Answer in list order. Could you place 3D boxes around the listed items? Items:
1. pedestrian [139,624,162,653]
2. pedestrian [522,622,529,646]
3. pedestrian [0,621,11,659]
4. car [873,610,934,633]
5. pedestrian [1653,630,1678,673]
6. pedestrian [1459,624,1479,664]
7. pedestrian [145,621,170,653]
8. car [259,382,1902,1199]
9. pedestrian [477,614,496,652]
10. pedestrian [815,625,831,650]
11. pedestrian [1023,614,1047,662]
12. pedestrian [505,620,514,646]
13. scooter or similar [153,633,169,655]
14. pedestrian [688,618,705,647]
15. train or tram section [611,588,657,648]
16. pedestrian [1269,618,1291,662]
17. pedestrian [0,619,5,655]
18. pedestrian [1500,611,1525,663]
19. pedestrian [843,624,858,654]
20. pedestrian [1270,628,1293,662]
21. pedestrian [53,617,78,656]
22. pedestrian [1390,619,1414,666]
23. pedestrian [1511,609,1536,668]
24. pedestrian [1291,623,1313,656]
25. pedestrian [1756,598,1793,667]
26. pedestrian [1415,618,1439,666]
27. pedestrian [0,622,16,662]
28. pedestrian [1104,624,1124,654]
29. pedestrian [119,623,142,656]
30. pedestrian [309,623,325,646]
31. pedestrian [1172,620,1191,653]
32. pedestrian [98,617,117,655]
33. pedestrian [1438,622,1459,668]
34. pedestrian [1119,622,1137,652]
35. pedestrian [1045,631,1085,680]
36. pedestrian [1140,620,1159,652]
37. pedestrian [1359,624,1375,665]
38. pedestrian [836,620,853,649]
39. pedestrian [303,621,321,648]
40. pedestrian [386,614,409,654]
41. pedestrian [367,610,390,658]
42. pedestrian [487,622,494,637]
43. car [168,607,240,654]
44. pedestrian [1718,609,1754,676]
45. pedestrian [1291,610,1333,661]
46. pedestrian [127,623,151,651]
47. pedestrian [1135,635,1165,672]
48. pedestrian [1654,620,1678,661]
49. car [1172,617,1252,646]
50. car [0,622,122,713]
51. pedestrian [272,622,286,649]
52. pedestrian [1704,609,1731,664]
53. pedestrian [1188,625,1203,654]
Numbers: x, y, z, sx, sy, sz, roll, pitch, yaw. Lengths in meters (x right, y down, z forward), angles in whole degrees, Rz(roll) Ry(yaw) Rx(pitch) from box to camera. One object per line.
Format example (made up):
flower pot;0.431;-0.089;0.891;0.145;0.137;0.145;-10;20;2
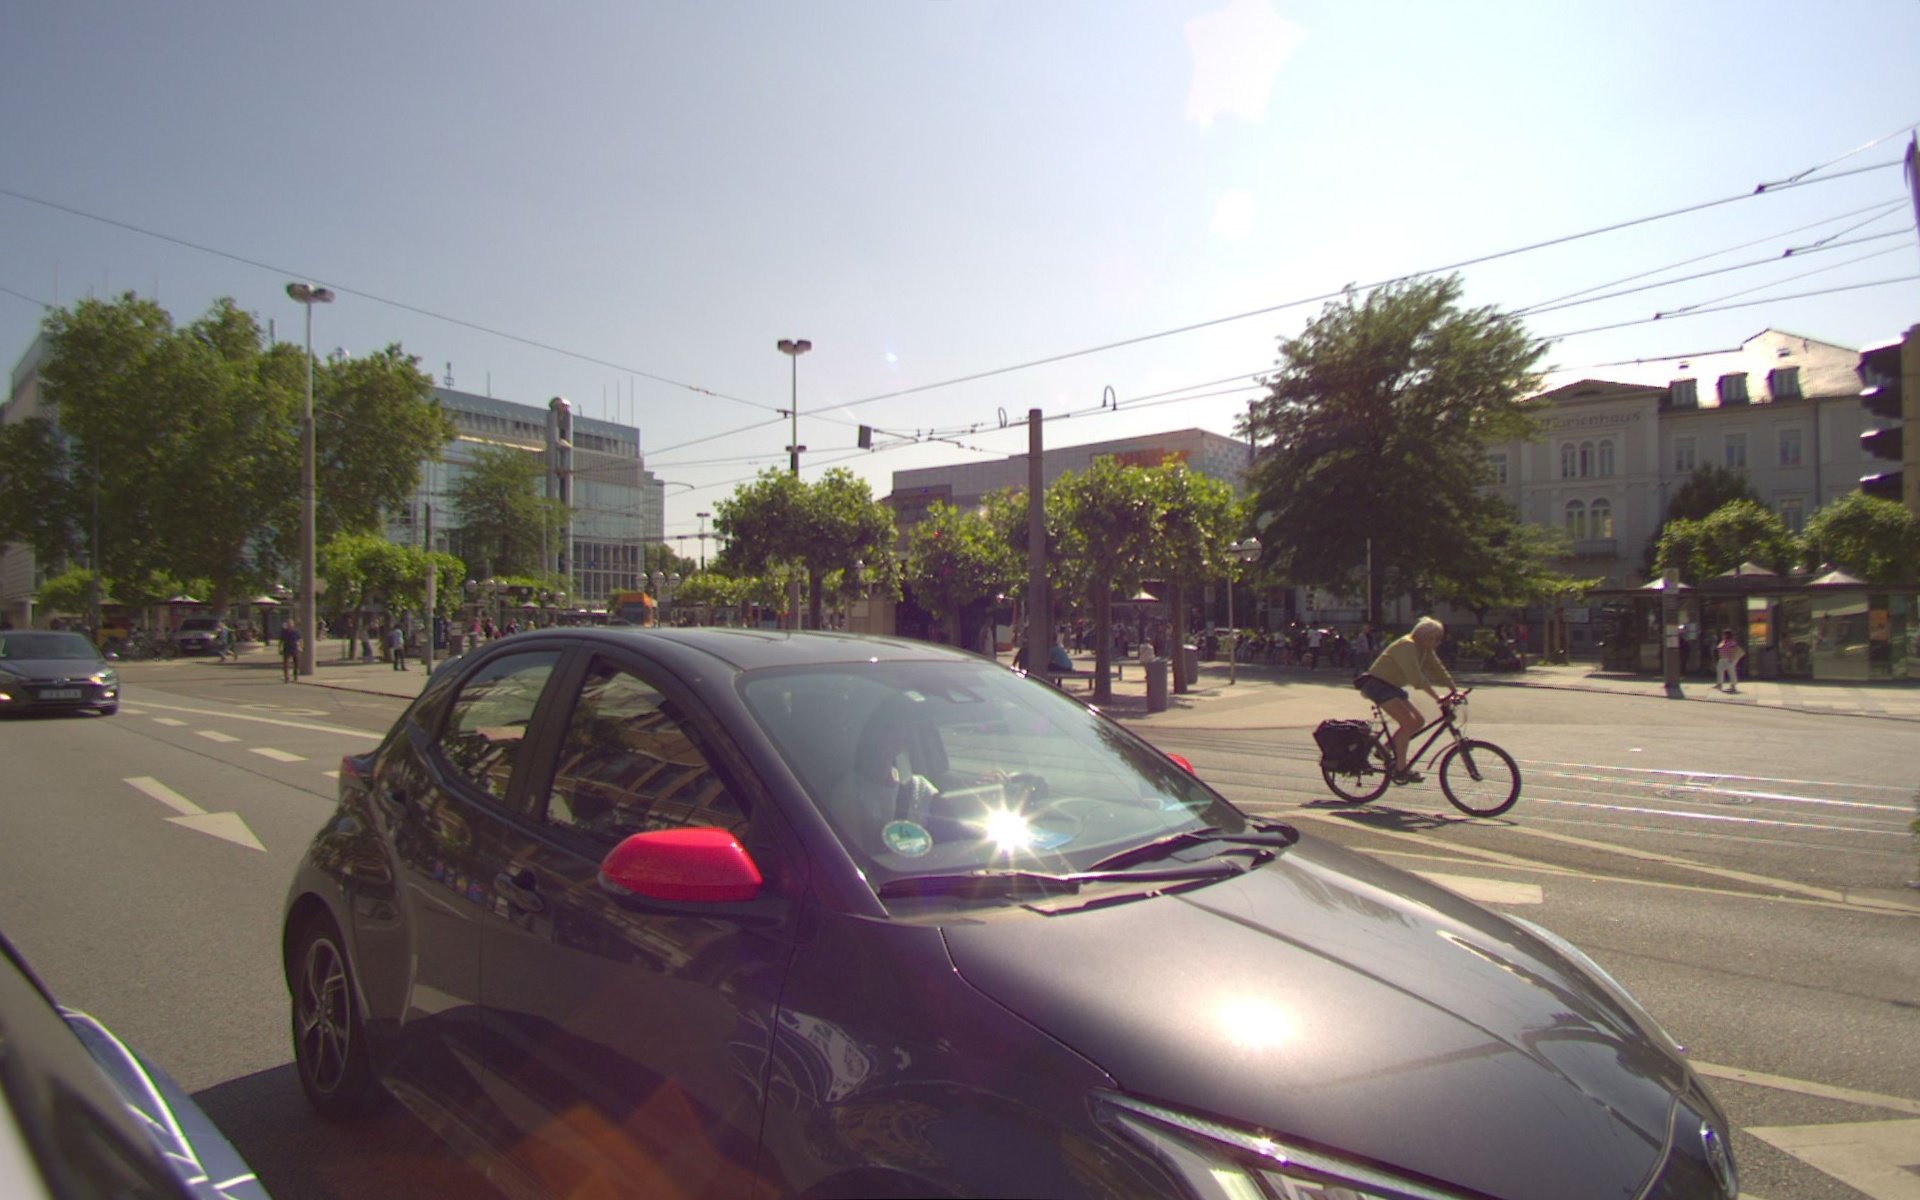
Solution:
pedestrian;-42.000;1.988;52.523;0.671;1.435;0.744;-1;0;31
pedestrian;-28.258;2.235;65.843;0.379;1.561;0.413;2;-4;-24
pedestrian;-46.532;1.928;49.080;0.738;1.860;0.587;-1;-3;40
car;-3.930;1.490;70.347;3.991;1.519;1.740;-1;0;35
pedestrian;23.116;1.693;33.171;0.598;1.402;0.562;-2;-4;40
pedestrian;18.180;1.584;36.131;0.616;1.396;0.735;-1;-4;29
pedestrian;-41.351;1.916;52.139;0.780;1.608;0.744;-1;0;31
car;-0.282;0.667;2.648;4.001;1.486;1.757;-1;-3;44
pedestrian;-23.030;1.623;49.252;0.605;1.830;0.570;-3;-5;41
pedestrian;-8.893;2.422;65.586;0.840;1.561;0.677;0;-4;15
pedestrian;2.553;1.294;34.341;0.549;1.620;0.600;-3;-5;43
pedestrian;-27.599;2.014;61.970;0.467;1.561;0.493;2;-4;-24
scooter or similar;-43.200;2.362;54.718;0.559;1.128;0.540;-1;0;-22
pedestrian;-14.878;1.844;57.073;0.675;1.610;0.621;-1;-4;19
train or tram section;-22.724;1.195;70.817;2.578;3.856;9.546;-1;0;-16
pedestrian;12.999;1.631;41.107;0.572;1.792;0.624;3;-5;-35
pedestrian;-44.727;1.701;46.754;0.620;1.661;0.754;-1;0;-23
pedestrian;18.898;1.254;34.645;0.627;1.762;0.542;0;-3;19
pedestrian;-5.539;1.978;51.102;0.585;1.477;0.522;-1;-4;21
pedestrian;12.096;1.695;38.033;0.613;1.273;0.583;4;-5;-40
pedestrian;-40.902;1.665;46.277;0.640;1.704;0.637;-1;0;28
pedestrian;16.533;1.582;37.861;0.618;1.742;0.733;-2;-4;40
pedestrian;19.507;1.336;35.066;0.627;2.023;0.542;0;-3;19
pedestrian;13.622;1.586;40.297;0.572;1.273;0.624;3;-5;-35
pedestrian;24.023;0.963;29.853;0.621;2.023;0.736;4;-4;-44
pedestrian;17.215;1.566;37.337;0.618;1.742;0.733;-2;-4;40
pedestrian;-44.856;1.978;47.684;0.510;1.849;0.717;-1;0;-41
pedestrian;7.729;1.947;50.888;0.741;1.477;0.780;-2;-5;36
pedestrian;-44.351;2.102;54.101;0.739;1.760;0.785;-1;0;-22
pedestrian;-49.851;2.641;78.435;0.780;1.760;0.744;-1;0;31
pedestrian;10.284;1.693;46.956;0.679;1.477;0.617;-2;-5;36
pedestrian;-40.755;1.716;48.387;0.516;1.756;0.511;-1;0;28
pedestrian;17.591;1.623;36.458;0.616;1.611;0.735;-1;-4;29
pedestrian;8.279;1.844;49.933;0.679;1.477;0.617;-2;-5;36
pedestrian;2.594;1.382;25.016;0.751;1.180;0.669;-2;-5;35
pedestrian;8.887;1.696;47.363;0.679;1.477;0.617;-2;-5;36
pedestrian;12.980;1.427;32.275;0.479;1.273;0.400;-1;-4;23
pedestrian;-5.918;1.767;51.897;0.621;1.477;0.674;-1;-4;25
pedestrian;-43.999;2.346;68.706;0.780;1.760;0.744;-1;0;31
pedestrian;-26.253;1.594;47.248;0.671;1.808;0.625;1;-4;-1
pedestrian;-24.986;1.465;43.489;0.563;2.023;0.686;-1;-1;32
pedestrian;-50.403;3.166;108.662;0.546;1.483;0.760;-1;0;-12
car;-35.920;1.395;48.214;1.966;2.029;5.083;-2;0;-28
pedestrian;20.365;1.119;26.551;0.678;1.719;0.696;-2;-4;40
pedestrian;12.682;1.288;36.517;0.953;1.807;1.082;4;-5;-40
pedestrian;-42.656;1.942;52.600;0.780;1.418;0.744;-1;0;31
pedestrian;5.322;1.508;28.323;0.580;1.008;0.627;-3;-5;43
pedestrian;24.139;1.384;34.603;0.598;1.369;0.562;-2;-4;40
car;14.085;1.780;56.715;3.991;1.519;1.740;-1;0;35
car;-16.089;1.117;17.655;3.999;1.415;1.676;-1;-3;42
pedestrian;-44.954;2.341;66.845;0.629;1.706;0.754;-2;0;-26
pedestrian;24.384;1.180;32.561;0.618;1.742;0.733;-2;-4;40
pedestrian;10.559;1.762;45.367;0.511;1.273;0.453;4;-5;-44
